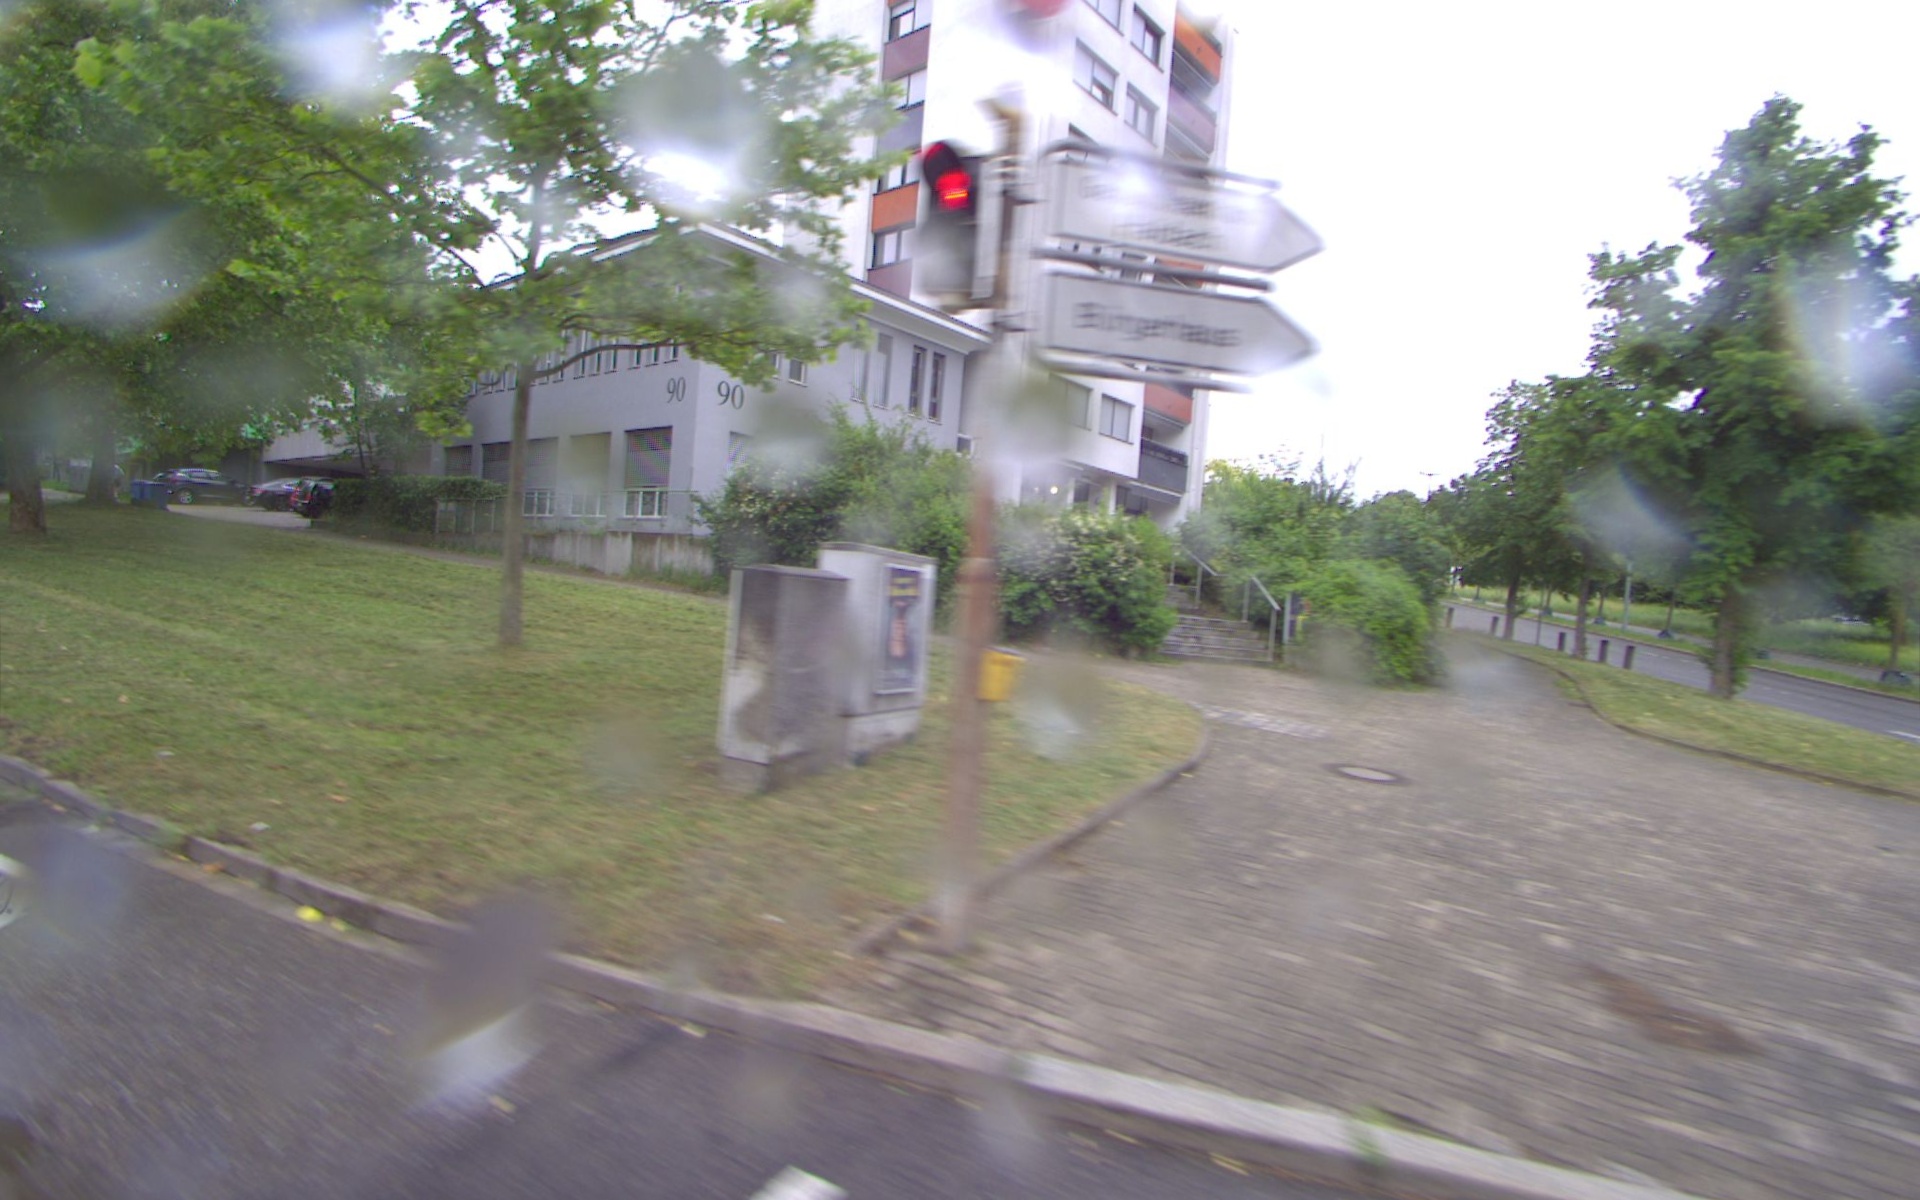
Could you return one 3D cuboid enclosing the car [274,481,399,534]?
[{"bbox_3d":[-26.298,-3.897,42.523,1.930,1.683,3.981,7,2,39],"label":"car"}]

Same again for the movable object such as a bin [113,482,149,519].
[{"bbox_3d":[-28.699,-3.452,34.819,0.651,1.133,0.669,6,-1,29],"label":"movable object such as a bin"}]

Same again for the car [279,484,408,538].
[{"bbox_3d":[-24.830,-3.570,40.576,1.972,1.661,3.978,7,2,41],"label":"car"}]

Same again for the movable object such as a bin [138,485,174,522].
[{"bbox_3d":[-27.833,-3.343,34.828,0.651,1.133,0.669,6,-1,29],"label":"movable object such as a bin"}]

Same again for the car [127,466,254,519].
[{"bbox_3d":[-34.502,-4.784,45.207,1.965,1.773,3.992,6,1,27],"label":"car"}]

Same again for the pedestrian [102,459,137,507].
[{"bbox_3d":[-33.816,-4.701,40.485,0.834,1.773,0.663,6,2,17],"label":"pedestrian"}]

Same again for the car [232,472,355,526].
[{"bbox_3d":[-28.630,-4.311,43.304,1.972,1.773,3.978,7,2,41],"label":"car"}]
